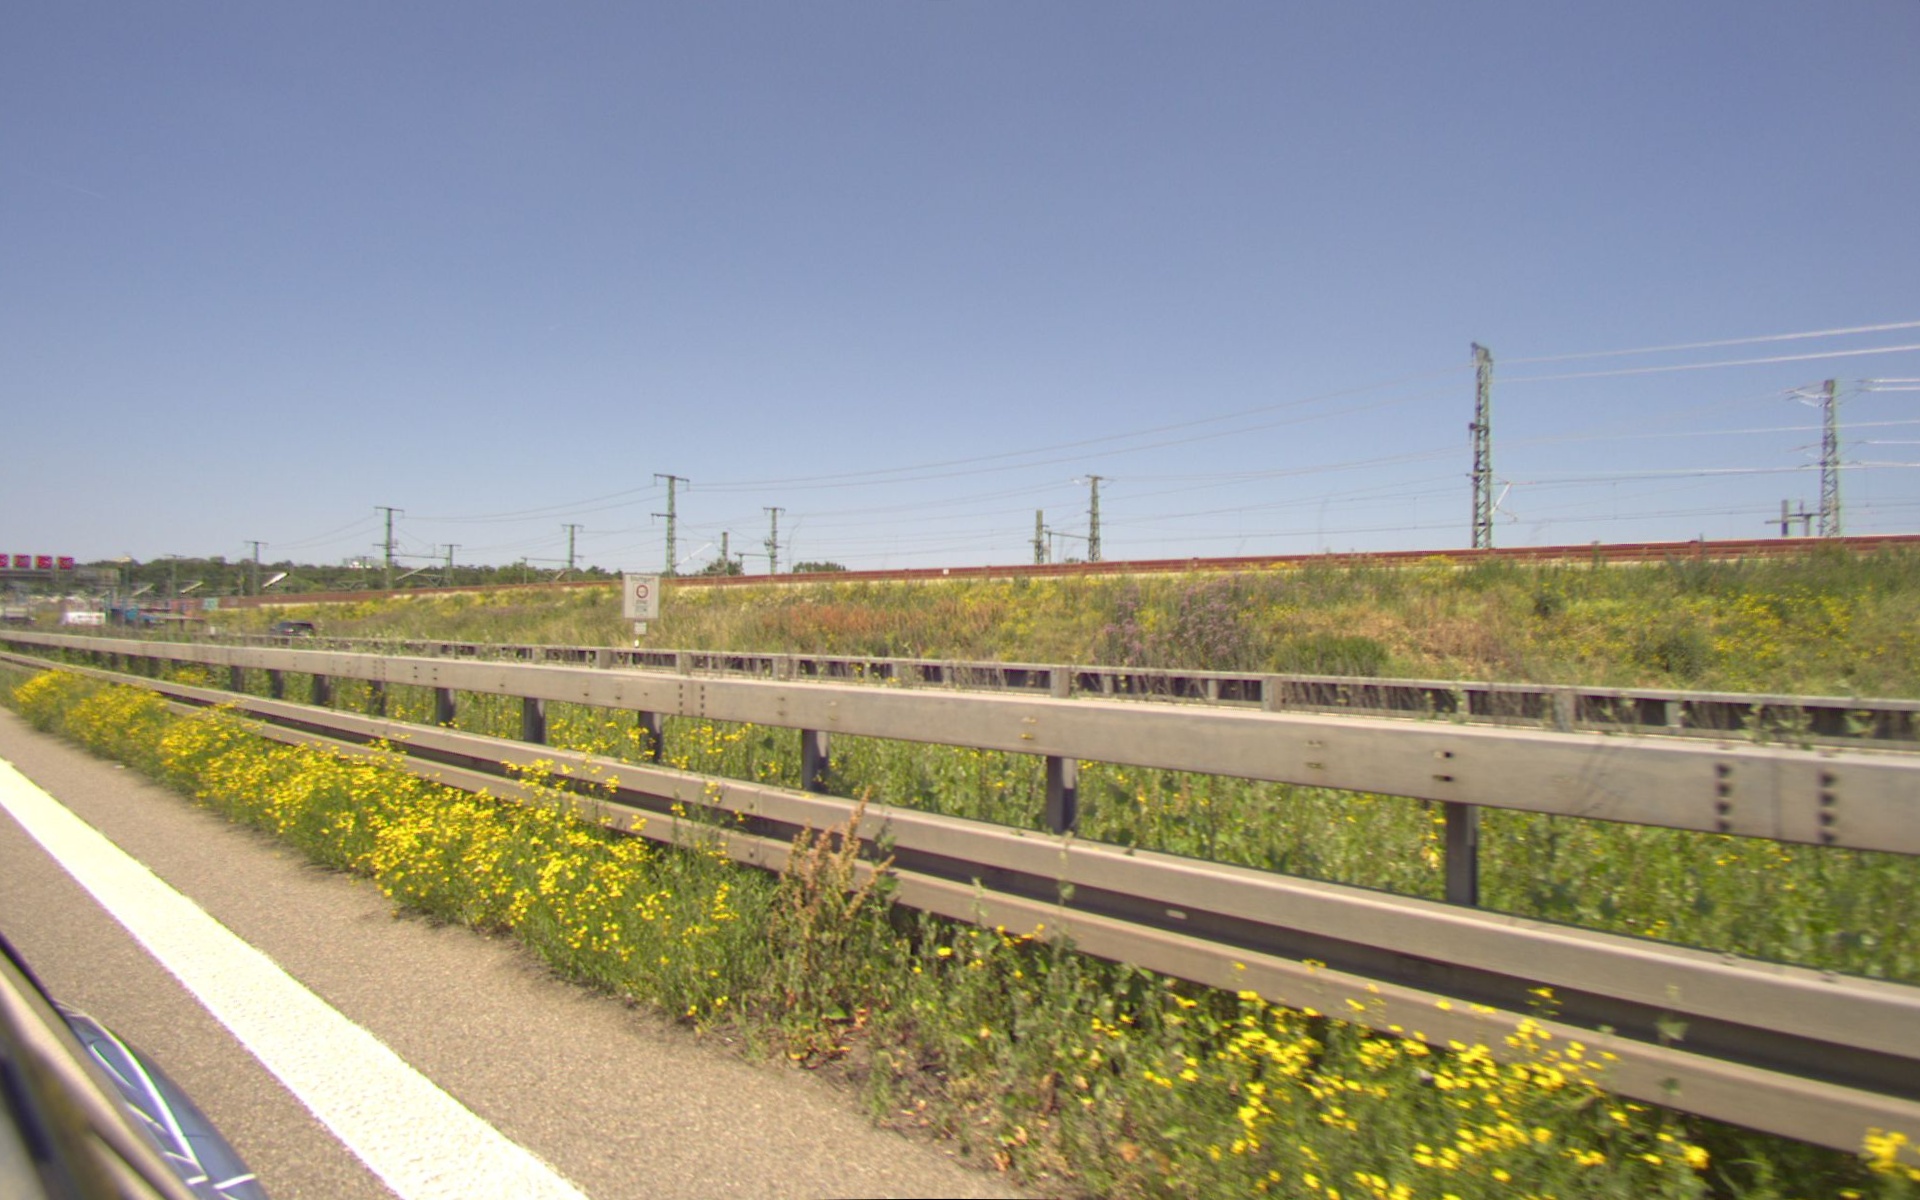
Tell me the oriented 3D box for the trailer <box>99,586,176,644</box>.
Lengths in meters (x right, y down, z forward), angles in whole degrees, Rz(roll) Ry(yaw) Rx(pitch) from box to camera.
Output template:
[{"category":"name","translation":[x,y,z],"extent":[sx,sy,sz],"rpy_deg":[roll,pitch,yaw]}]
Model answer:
[{"category":"trailer","translation":[-58.437,1.094,71.831],"extent":[7.199,3.897,3.019],"rpy_deg":[-1,-2,41]}]

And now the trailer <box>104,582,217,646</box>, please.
[{"category":"trailer","translation":[-53.758,0.997,67.762],"extent":[15.968,3.897,3.019],"rpy_deg":[-1,-2,41]}]

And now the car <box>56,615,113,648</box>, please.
[{"category":"car","translation":[-56.132,1.991,64.826],"extent":[5.429,2.029,1.973],"rpy_deg":[-1,-1,41]}]

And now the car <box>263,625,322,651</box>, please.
[{"category":"car","translation":[-40.812,2.299,61.822],"extent":[4.236,1.526,1.897],"rpy_deg":[-1,-2,41]}]

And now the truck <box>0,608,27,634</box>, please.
[{"category":"truck","translation":[-137.583,3.030,146.582],"extent":[7.777,3.493,2.828],"rpy_deg":[-1,0,41]}]

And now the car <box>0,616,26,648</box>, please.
[{"category":"car","translation":[-56.904,1.863,59.913],"extent":[3.998,1.863,1.972],"rpy_deg":[-1,-2,41]}]
